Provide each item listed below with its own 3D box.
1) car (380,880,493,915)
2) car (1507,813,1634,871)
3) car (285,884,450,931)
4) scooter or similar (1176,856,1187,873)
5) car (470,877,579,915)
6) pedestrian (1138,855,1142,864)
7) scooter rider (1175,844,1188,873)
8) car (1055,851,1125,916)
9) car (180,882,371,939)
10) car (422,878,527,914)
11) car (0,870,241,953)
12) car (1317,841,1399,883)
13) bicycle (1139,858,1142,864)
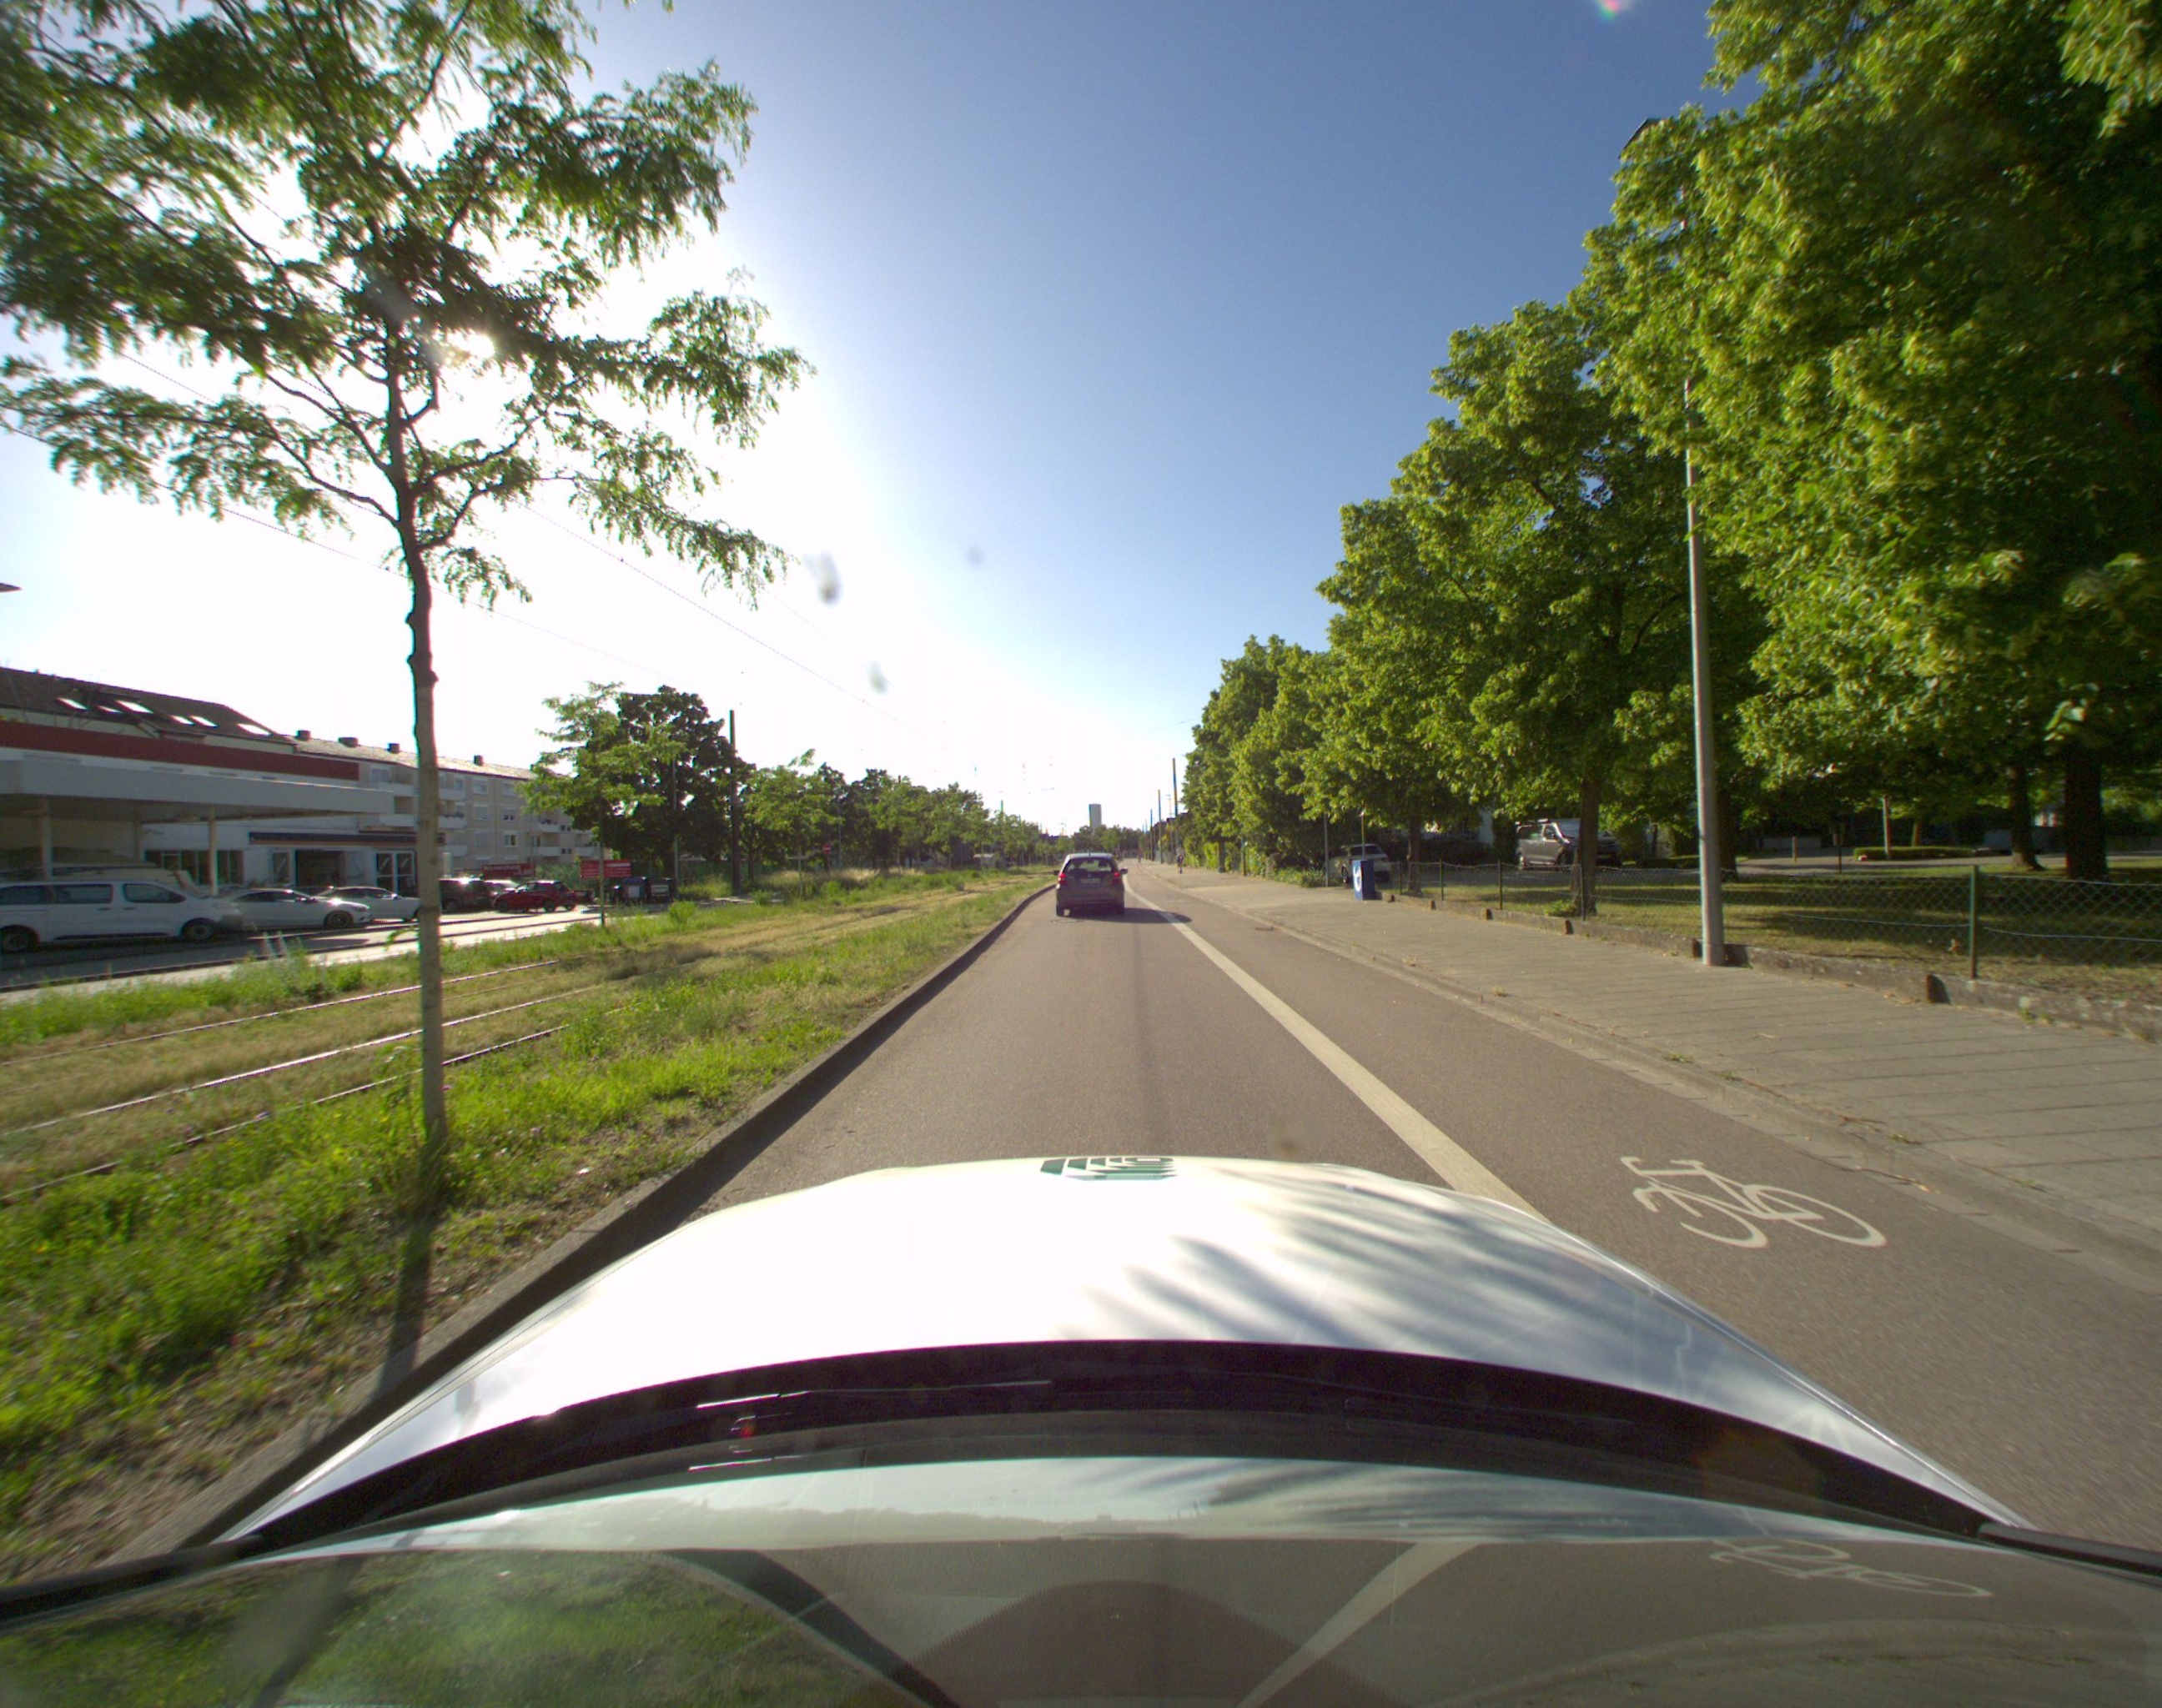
[{"bbox_3d":[-31.570,2.128,39.960,4.057,1.444,1.792,-3,0,0],"label":"car"},{"bbox_3d":[18.276,-0.405,30.750,1.864,1.966,5.170,-2,0,3],"label":"car"},{"bbox_3d":[-27.835,2.043,31.946,1.769,1.471,4.500,-3,0,32],"label":"car"},{"bbox_3d":[6.757,0.714,54.903,0.537,1.118,1.417,-2,-1,1],"label":"scooter or similar"},{"bbox_3d":[-27.203,2.034,39.900,4.057,1.568,1.792,-3,0,0],"label":"car"},{"bbox_3d":[11.583,1.067,159.429,0.719,1.800,1.165,-3,0,2],"label":"pedestrian"},{"bbox_3d":[6.756,0.300,54.883,0.713,1.901,0.935,-2,-1,1],"label":"scooter rider"},{"bbox_3d":[0.289,0.691,20.903,1.618,1.499,3.459,-1,0,2],"label":"car"},{"bbox_3d":[-27.533,1.884,27.981,1.769,1.528,4.499,-3,0,41],"label":"car"},{"bbox_3d":[-31.522,2.156,42.407,4.057,1.568,1.792,-3,0,0],"label":"car"},{"bbox_3d":[-27.762,1.579,23.466,1.837,1.974,4.817,-3,0,41],"label":"car"},{"bbox_3d":[10.497,0.292,31.156,1.768,1.386,3.869,-3,0,0],"label":"car"},{"bbox_3d":[11.645,1.349,159.427,0.510,1.241,3.091,-3,0,2],"label":"bicycle"}]
